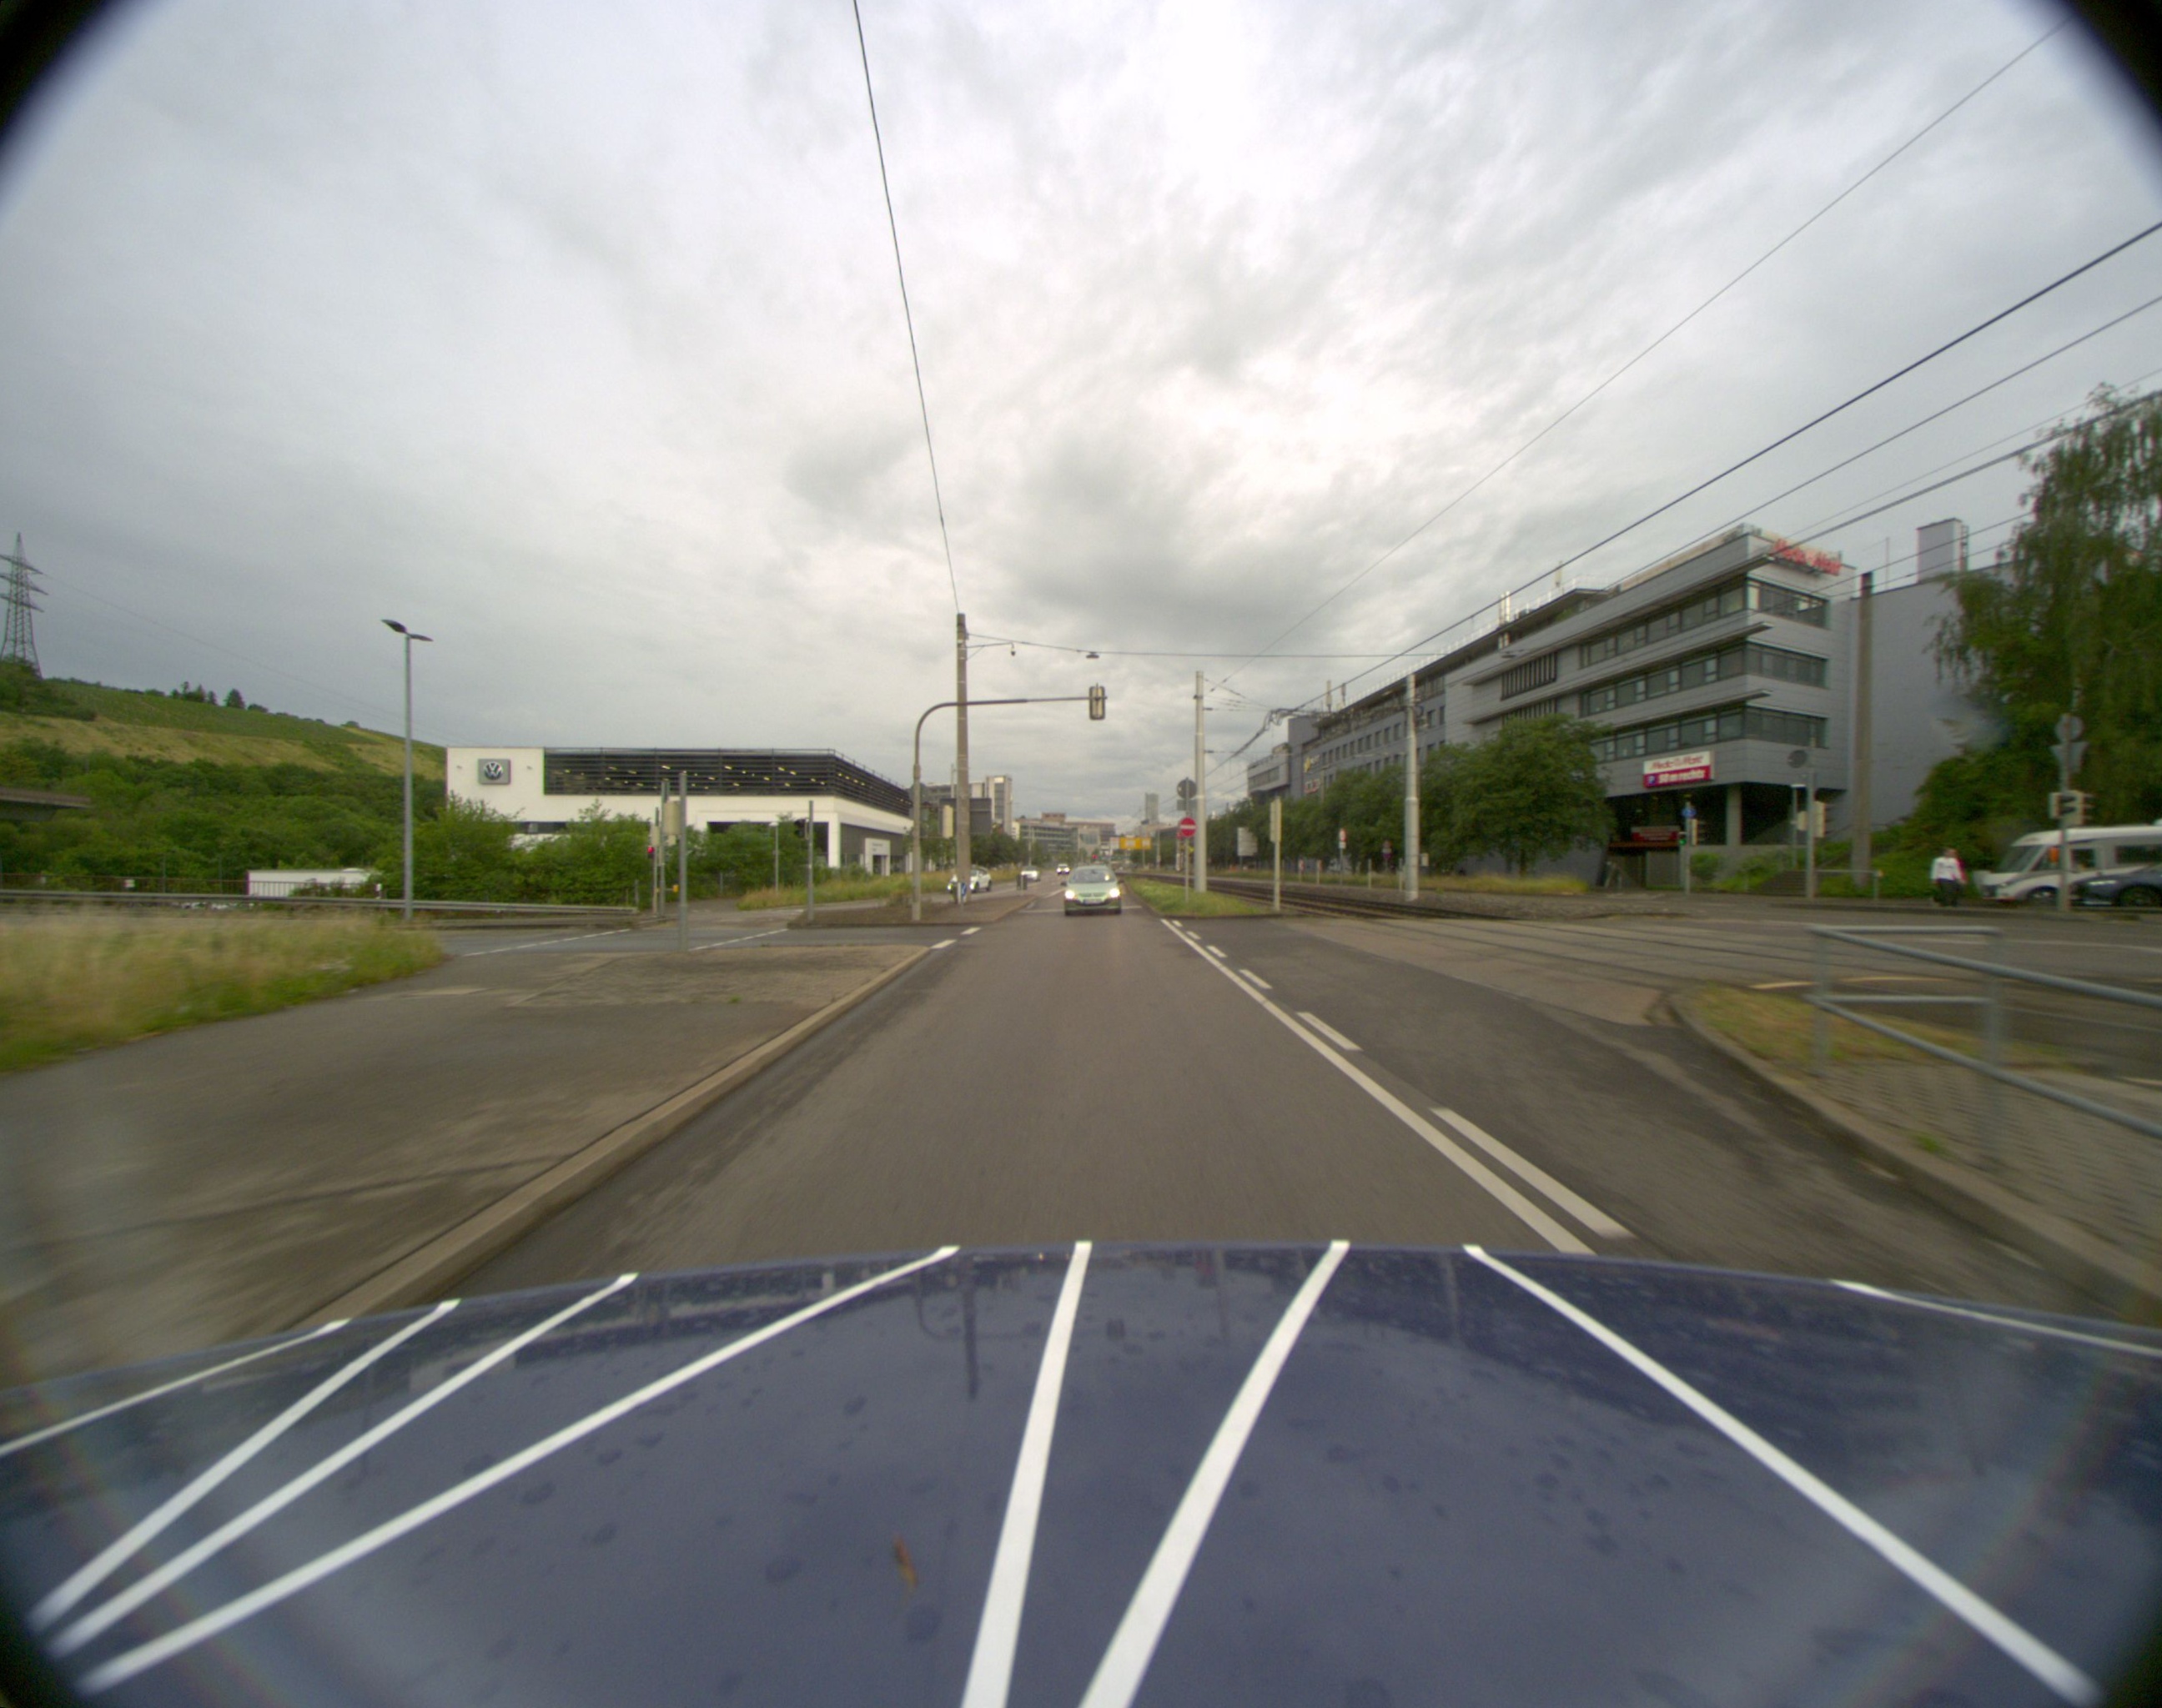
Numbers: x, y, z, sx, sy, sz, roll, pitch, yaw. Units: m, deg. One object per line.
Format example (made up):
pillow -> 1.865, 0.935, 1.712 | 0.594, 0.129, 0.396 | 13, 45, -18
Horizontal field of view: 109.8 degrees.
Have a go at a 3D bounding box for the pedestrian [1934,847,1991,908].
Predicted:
pedestrian -> 26.457, 0.698, 22.827 | 0.748, 1.775, 0.813 | 0, -1, 0

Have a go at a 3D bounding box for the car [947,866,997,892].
car -> -7.036, 1.625, 49.512 | 2.038, 1.531, 4.113 | -1, 0, 10

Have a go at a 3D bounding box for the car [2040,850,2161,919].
car -> 31.854, 0.818, 21.693 | 5.157, 1.869, 2.004 | -3, 0, 33

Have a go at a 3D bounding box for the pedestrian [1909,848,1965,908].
pedestrian -> 25.694, 0.722, 22.813 | 0.748, 1.775, 0.813 | 0, -1, 0

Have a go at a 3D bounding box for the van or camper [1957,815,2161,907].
van or camper -> 34.956, 0.201, 24.930 | 7.743, 2.866, 2.305 | -3, 0, 32

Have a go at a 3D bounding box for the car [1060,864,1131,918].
car -> 0.536, 1.095, 24.053 | 1.779, 1.493, 4.002 | 0, 0, 8

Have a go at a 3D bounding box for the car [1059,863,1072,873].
car -> -2.529, 2.278, 121.780 | 1.993, 1.531, 4.109 | -1, 0, -1

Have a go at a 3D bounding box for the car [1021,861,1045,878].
car -> -4.693, 1.526, 74.363 | 1.993, 1.531, 4.110 | -1, 0, 1
